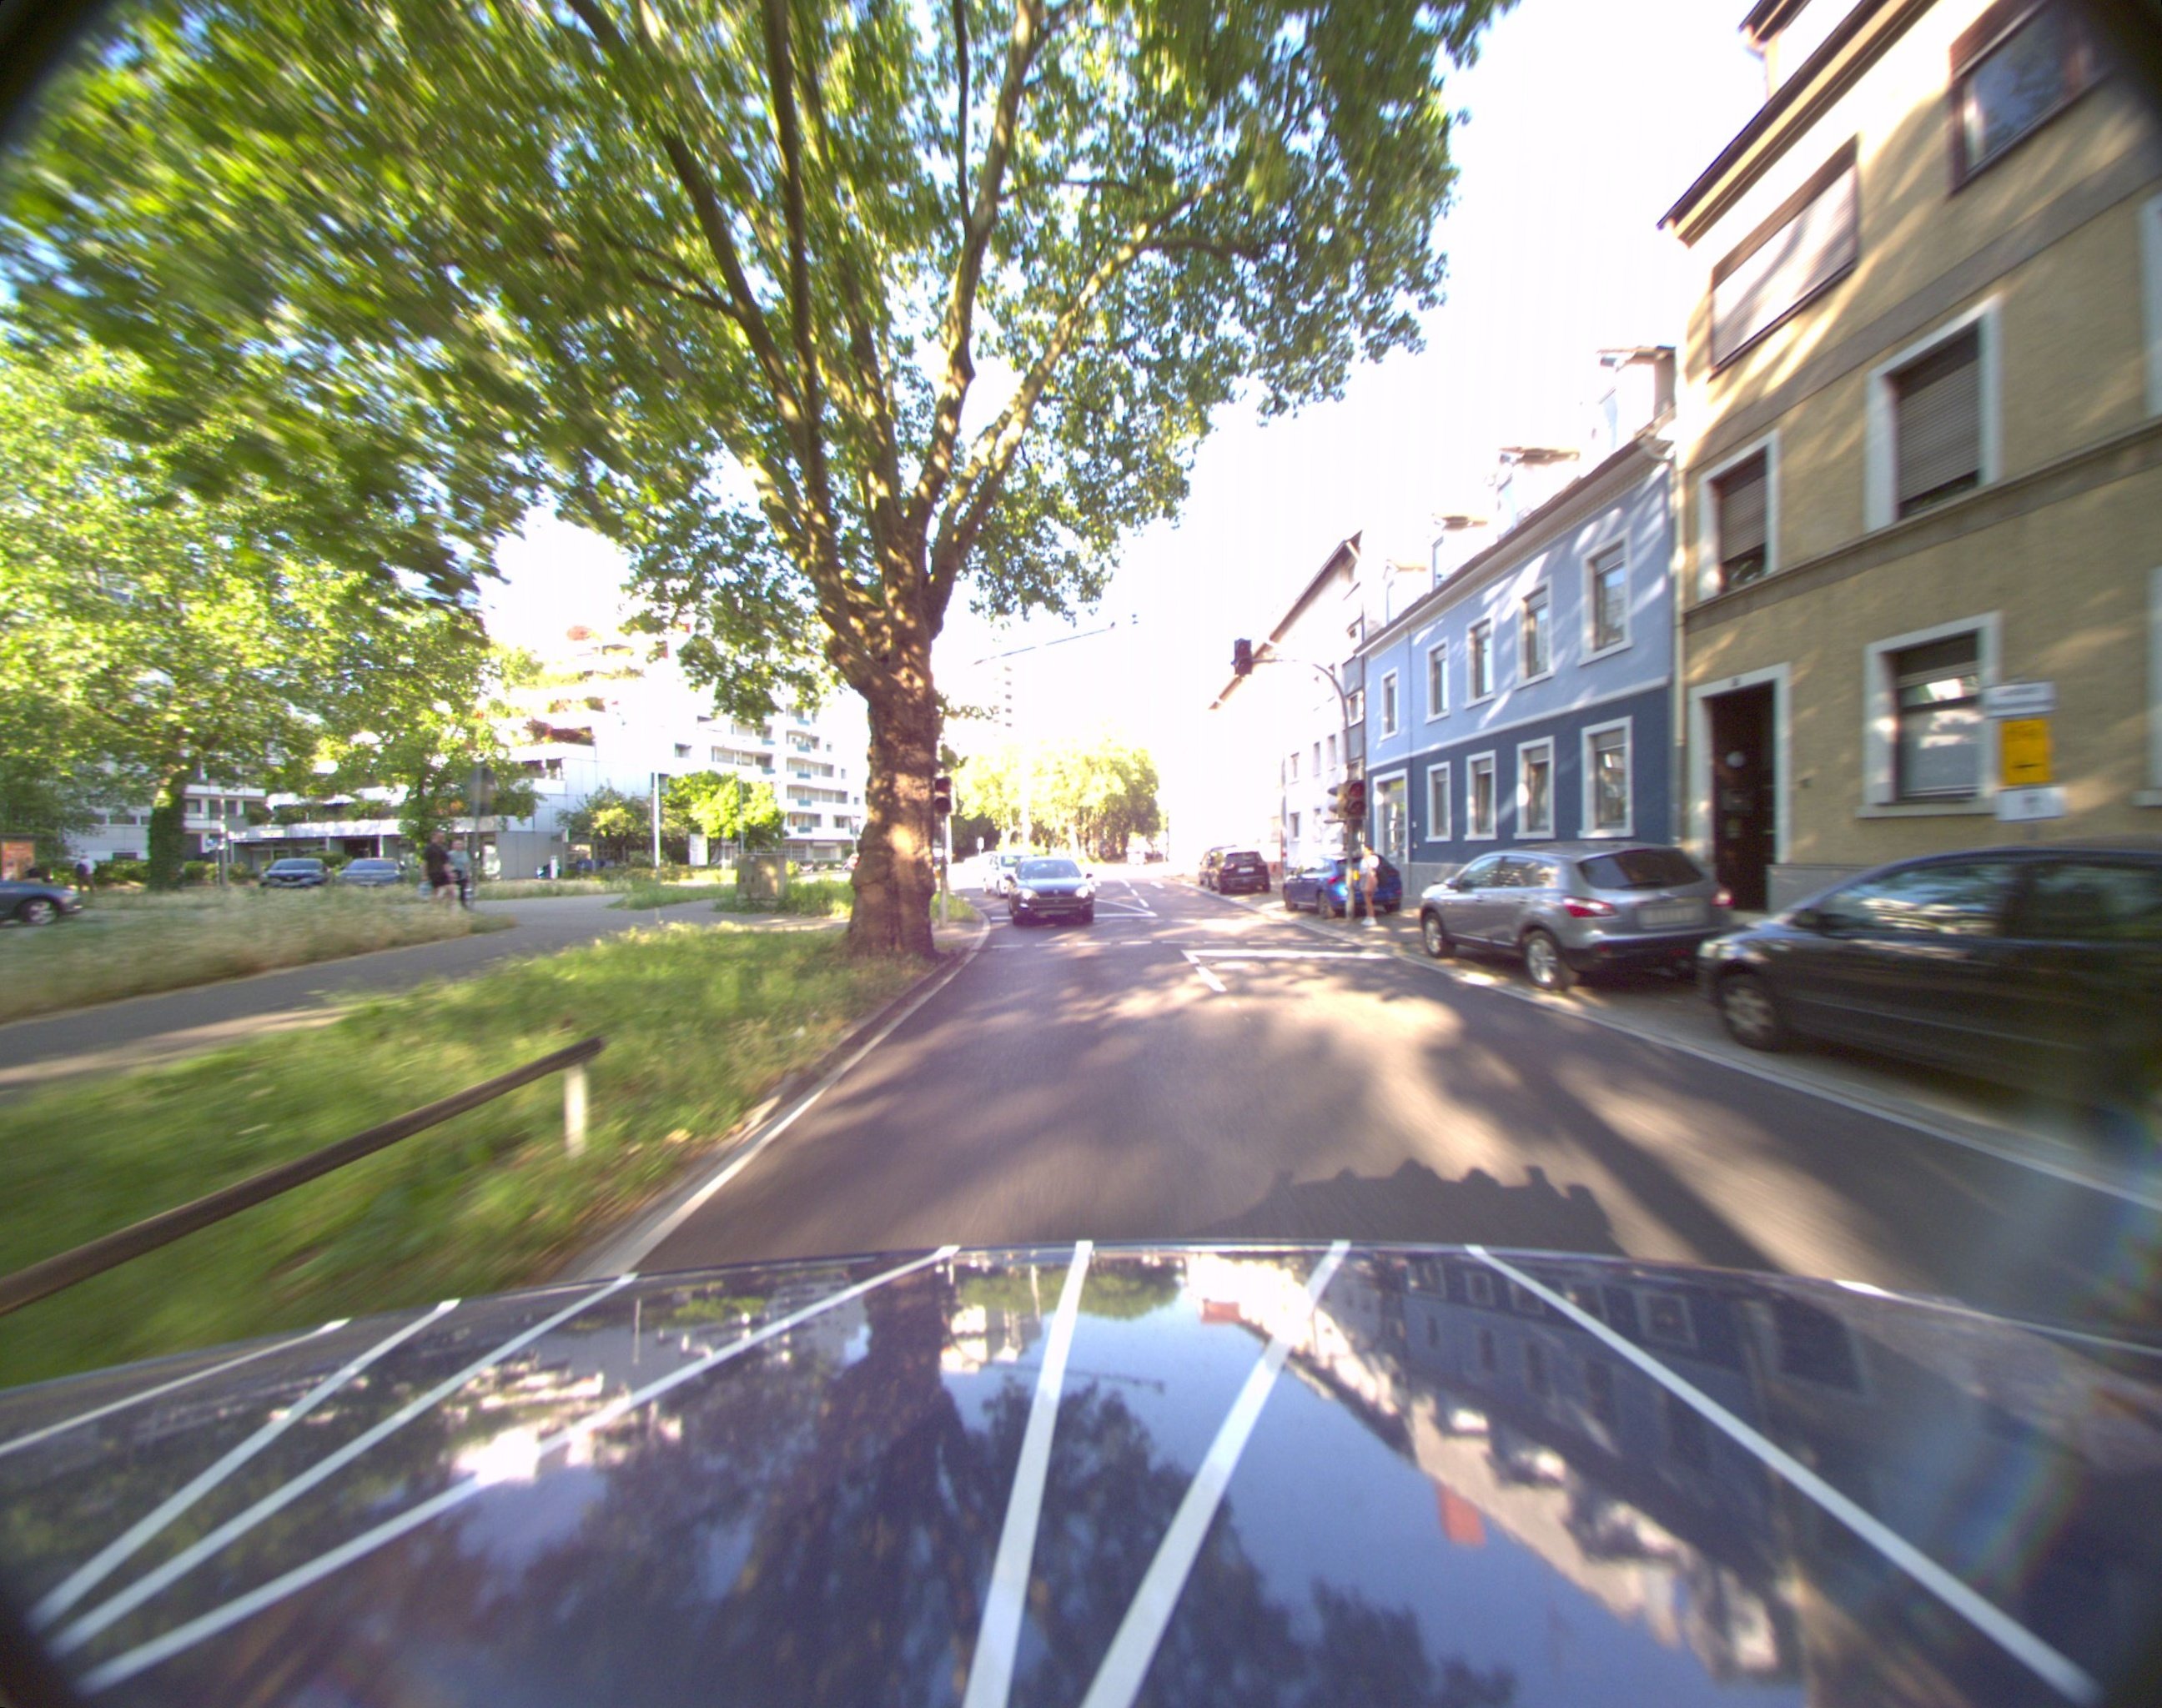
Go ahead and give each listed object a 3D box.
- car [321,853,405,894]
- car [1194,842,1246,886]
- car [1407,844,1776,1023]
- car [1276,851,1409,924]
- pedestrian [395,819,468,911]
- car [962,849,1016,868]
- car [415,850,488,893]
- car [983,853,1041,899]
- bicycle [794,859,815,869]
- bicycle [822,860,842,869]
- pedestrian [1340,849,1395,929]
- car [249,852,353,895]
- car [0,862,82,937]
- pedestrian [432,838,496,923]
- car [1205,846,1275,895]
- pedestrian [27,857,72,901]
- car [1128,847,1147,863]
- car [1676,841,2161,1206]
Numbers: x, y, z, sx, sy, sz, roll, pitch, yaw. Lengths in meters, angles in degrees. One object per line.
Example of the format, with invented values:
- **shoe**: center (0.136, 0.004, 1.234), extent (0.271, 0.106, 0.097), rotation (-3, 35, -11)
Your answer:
- **car**: center (-29.104, 0.834, 30.944), extent (1.832, 1.577, 4.359), rotation (2, -3, -35)
- **car**: center (6.219, 0.398, 34.432), extent (1.668, 1.808, 4.005), rotation (-2, 1, 2)
- **car**: center (5.824, 0.749, 9.414), extent (1.786, 1.663, 4.155), rotation (-2, 1, 1)
- **car**: center (6.187, 0.720, 18.496), extent (1.654, 1.478, 4.261), rotation (-2, 1, -1)
- **pedestrian**: center (-13.814, 0.225, 16.189), extent (0.838, 1.921, 0.781), rotation (-1, 1, -7)
- **car**: center (-7.787, 0.389, 64.431), extent (4.209, 1.502, 1.798), rotation (-1, 1, -19)
- **car**: center (-26.132, 0.786, 31.677), extent (1.942, 1.649, 4.467), rotation (2, -3, -35)
- **car**: center (-2.293, 0.705, 26.150), extent (1.654, 1.445, 3.534), rotation (-1, 1, 0)
- **bicycle**: center (-23.452, 0.855, 64.436), extent (0.463, 0.833, 1.704), rotation (1, 1, 35)
- **bicycle**: center (-21.646, 0.934, 66.054), extent (1.578, 0.780, 0.463), rotation (-1, 1, -23)
- **pedestrian**: center (5.737, 0.684, 15.250), extent (0.865, 1.561, 0.706), rotation (-1, 1, 6)
- **car**: center (-31.794, 0.842, 31.123), extent (1.876, 1.628, 3.992), rotation (1, -3, -29)
- **car**: center (-23.031, 0.898, 14.769), extent (1.673, 1.513, 3.992), rotation (0, -2, 11)
- **pedestrian**: center (-13.951, 0.575, 17.205), extent (0.785, 1.869, 0.803), rotation (-1, 1, -6)
- **car**: center (5.935, 0.552, 28.879), extent (1.910, 1.663, 4.493), rotation (-2, 1, 4)
- **pedestrian**: center (-39.751, 0.960, 29.286), extent (0.744, 1.652, 0.630), rotation (-1, 1, -16)
- **car**: center (6.213, 0.095, 83.866), extent (1.898, 1.782, 4.000), rotation (0, 1, 2)
- **car**: center (5.764, 0.754, 4.491), extent (1.681, 1.595, 3.705), rotation (-2, 1, 3)
